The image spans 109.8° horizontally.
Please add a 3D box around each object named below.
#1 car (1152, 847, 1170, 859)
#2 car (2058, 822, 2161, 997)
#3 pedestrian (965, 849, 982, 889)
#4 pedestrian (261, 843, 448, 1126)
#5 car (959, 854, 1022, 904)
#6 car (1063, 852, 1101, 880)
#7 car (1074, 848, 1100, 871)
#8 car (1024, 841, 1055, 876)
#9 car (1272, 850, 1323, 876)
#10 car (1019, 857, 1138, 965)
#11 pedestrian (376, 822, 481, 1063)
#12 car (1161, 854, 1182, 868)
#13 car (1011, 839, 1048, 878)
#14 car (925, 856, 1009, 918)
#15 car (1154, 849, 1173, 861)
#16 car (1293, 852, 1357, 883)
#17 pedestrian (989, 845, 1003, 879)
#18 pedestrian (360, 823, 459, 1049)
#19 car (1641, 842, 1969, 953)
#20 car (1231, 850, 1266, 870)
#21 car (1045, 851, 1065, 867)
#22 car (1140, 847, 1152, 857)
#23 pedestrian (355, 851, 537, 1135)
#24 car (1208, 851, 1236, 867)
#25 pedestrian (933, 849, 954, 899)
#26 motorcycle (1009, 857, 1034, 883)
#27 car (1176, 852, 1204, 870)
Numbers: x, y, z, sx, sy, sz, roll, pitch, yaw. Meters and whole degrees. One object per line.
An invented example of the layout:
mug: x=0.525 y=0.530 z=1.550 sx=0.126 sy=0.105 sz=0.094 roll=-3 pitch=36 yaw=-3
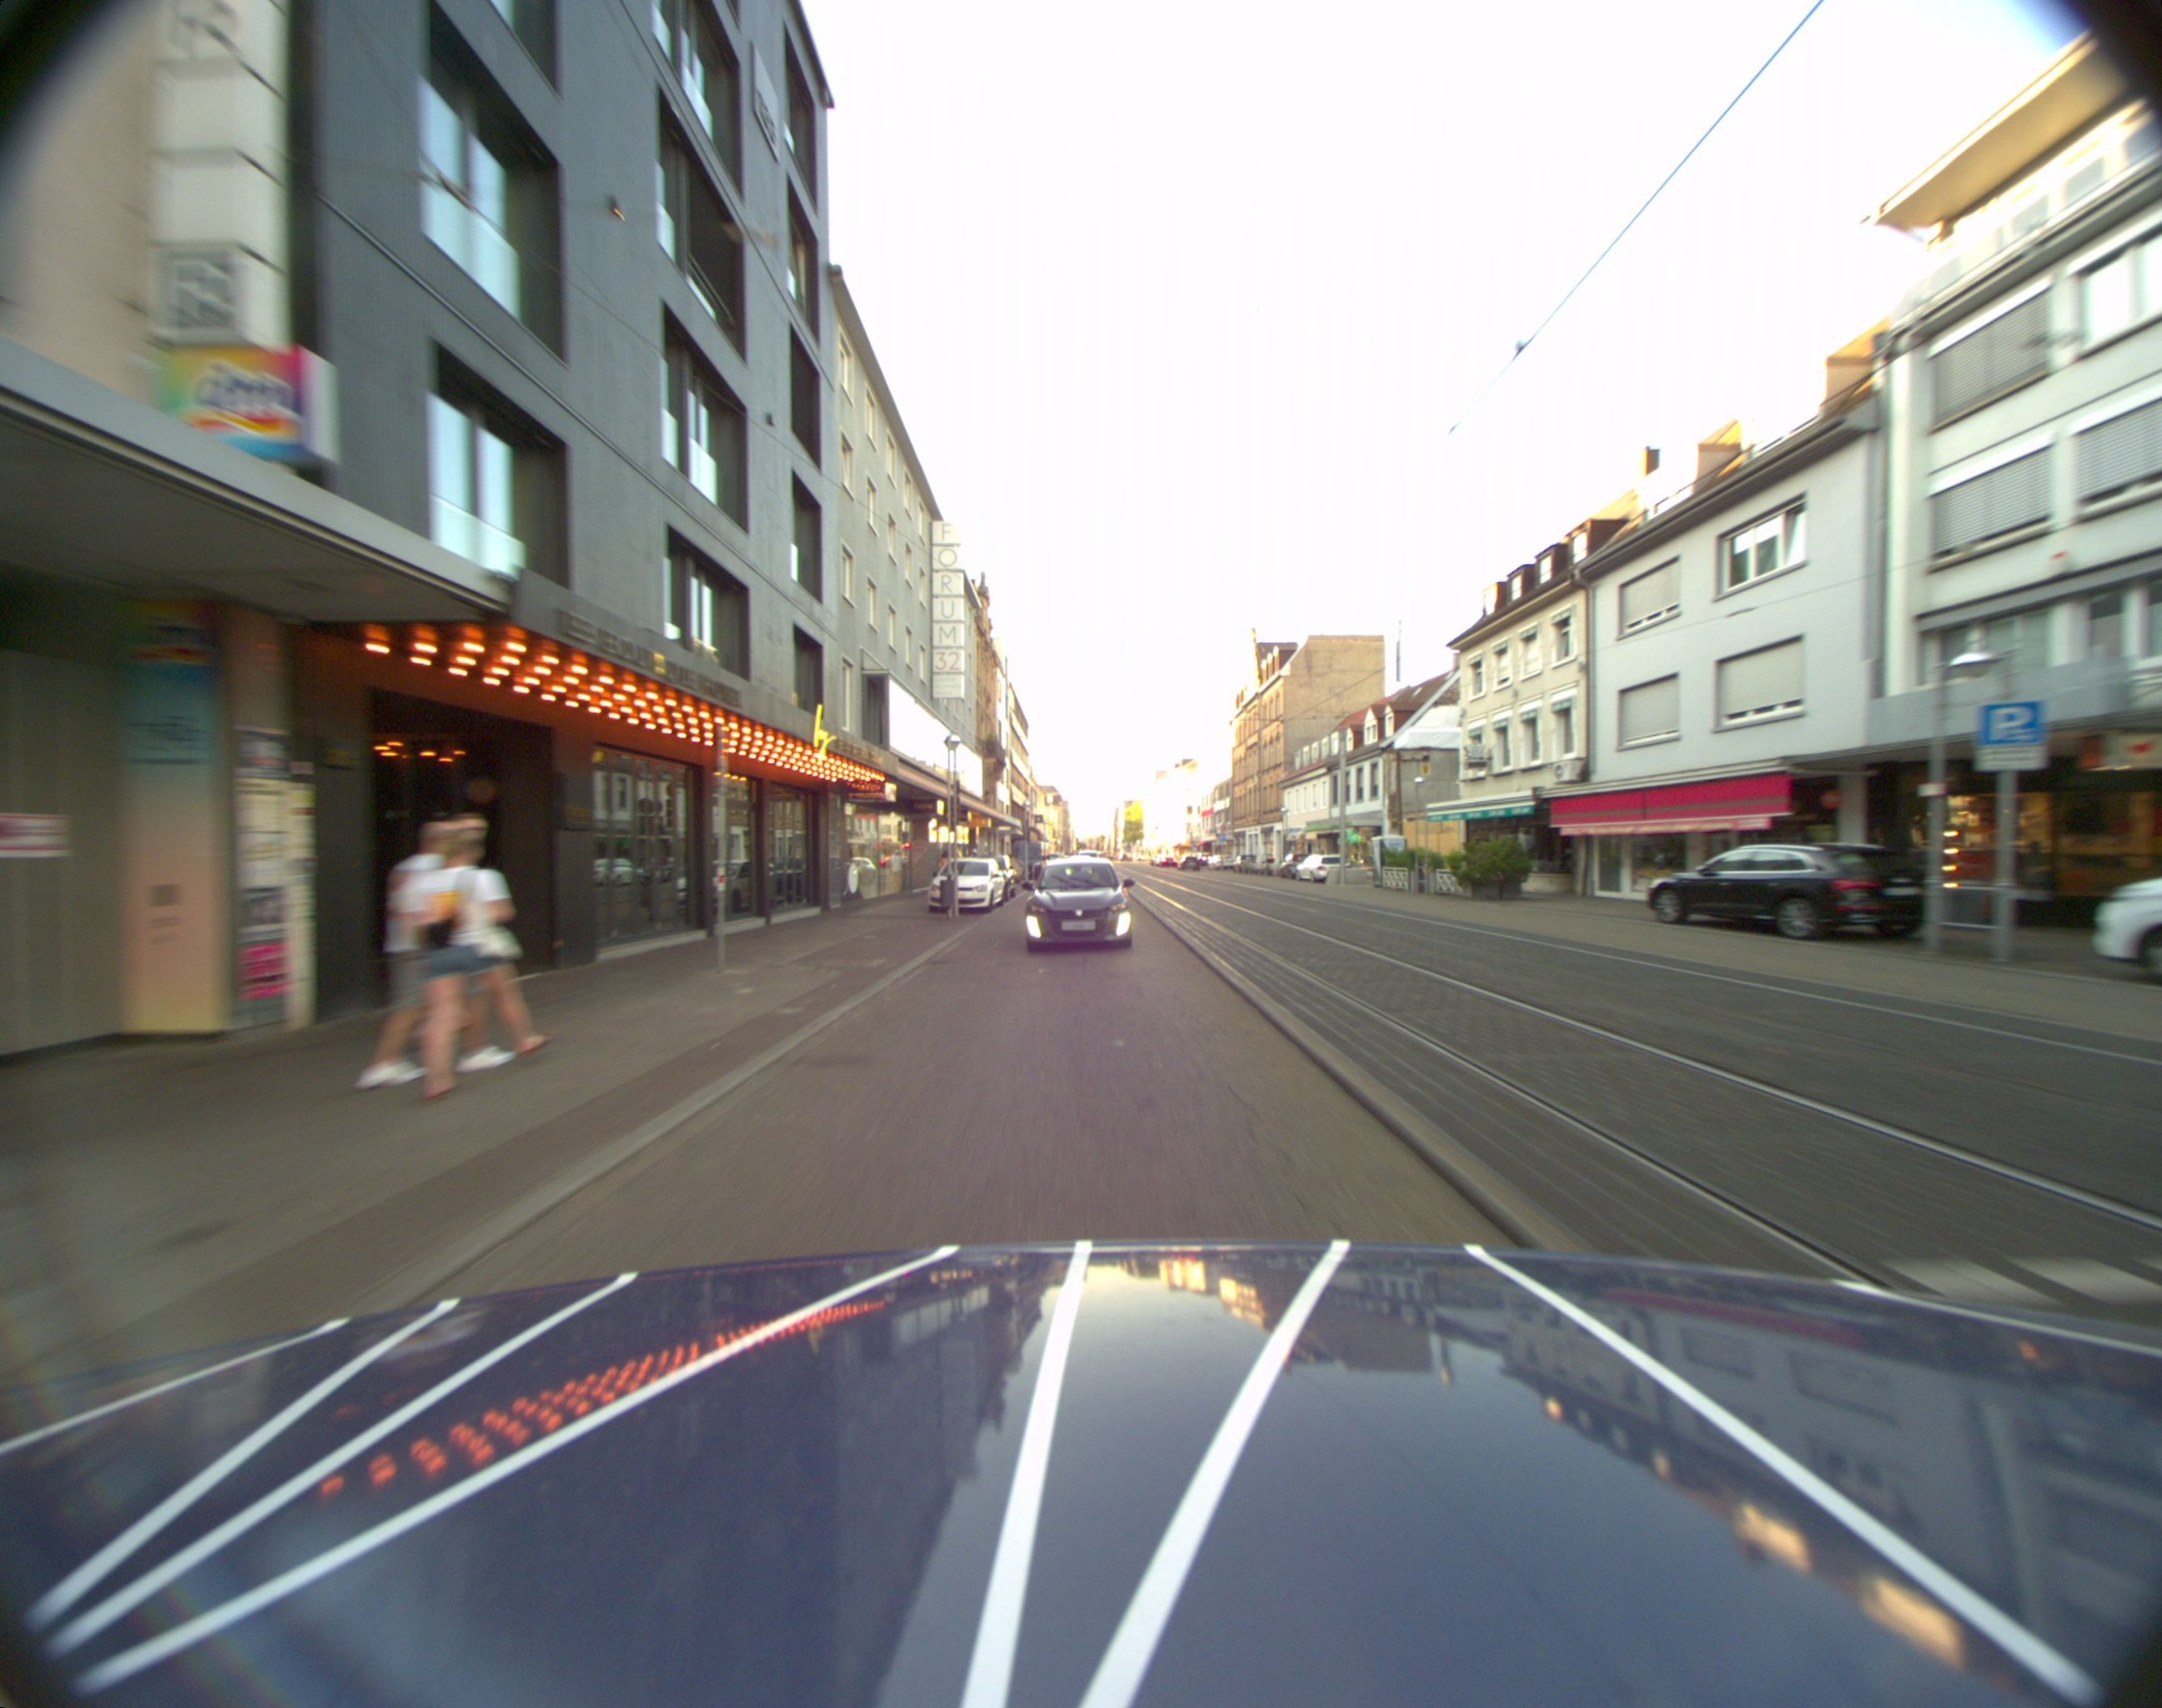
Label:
car: x=10.888 y=-0.102 z=103.570 sx=1.998 sy=1.543 sz=4.000 roll=0 pitch=0 yaw=0
car: x=13.122 y=0.632 z=6.843 sx=1.960 sy=1.965 sz=5.162 roll=0 pitch=0 yaw=-1
pedestrian: x=-4.705 y=0.651 z=33.300 sx=0.610 sy=1.743 sz=0.605 roll=0 pitch=1 yaw=0
pedestrian: x=-4.708 y=0.802 z=4.965 sx=0.610 sy=1.743 sz=0.605 roll=0 pitch=1 yaw=0
car: x=-3.073 y=0.806 z=26.428 sx=1.673 sy=1.565 sz=4.034 roll=0 pitch=0 yaw=0
car: x=0.064 y=0.617 z=42.196 sx=1.998 sy=1.450 sz=3.999 roll=0 pitch=0 yaw=0
car: x=0.435 y=0.409 z=61.569 sx=1.999 sy=1.805 sz=3.999 roll=0 pitch=1 yaw=-1
car: x=-3.002 y=0.299 z=55.520 sx=1.999 sy=2.390 sz=5.563 roll=0 pitch=0 yaw=-1
car: x=13.261 y=0.530 z=46.822 sx=1.914 sy=1.535 sz=4.552 roll=0 pitch=0 yaw=0
car: x=-0.062 y=0.867 z=13.616 sx=1.732 sy=1.513 sz=4.333 roll=-2 pitch=0 yaw=-1
pedestrian: x=-5.262 y=0.690 z=6.149 sx=0.456 sy=1.888 sz=0.421 roll=0 pitch=1 yaw=0
car: x=10.485 y=0.768 z=88.702 sx=1.998 sy=1.543 sz=4.000 roll=0 pitch=0 yaw=0
car: x=-3.273 y=0.275 z=49.089 sx=2.046 sy=2.371 sz=5.584 roll=0 pitch=0 yaw=-1
car: x=-3.103 y=0.844 z=21.342 sx=1.682 sy=1.534 sz=3.886 roll=1 pitch=0 yaw=1
car: x=10.424 y=0.134 z=95.776 sx=1.998 sy=1.543 sz=4.000 roll=0 pitch=0 yaw=0
car: x=13.215 y=0.700 z=41.496 sx=1.998 sy=1.535 sz=4.878 roll=-1 pitch=0 yaw=1
pedestrian: x=-5.009 y=0.479 z=44.941 sx=0.711 sy=2.002 sz=0.824 roll=0 pitch=1 yaw=0
pedestrian: x=-5.787 y=0.685 z=6.561 sx=0.452 sy=1.888 sz=0.421 roll=0 pitch=1 yaw=0
car: x=13.265 y=0.688 z=14.420 sx=1.863 sy=1.711 sz=4.527 roll=-2 pitch=0 yaw=0
car: x=13.642 y=0.459 z=62.182 sx=1.998 sy=1.543 sz=4.000 roll=0 pitch=0 yaw=0
car: x=-2.655 y=0.514 z=78.358 sx=1.999 sy=1.627 sz=5.243 roll=0 pitch=0 yaw=-1
car: x=13.449 y=-0.343 z=157.181 sx=1.998 sy=2.024 sz=4.000 roll=0 pitch=0 yaw=0
pedestrian: x=-4.065 y=0.841 z=4.909 sx=0.605 sy=1.717 sz=0.646 roll=0 pitch=1 yaw=0
car: x=13.709 y=0.438 z=74.048 sx=1.998 sy=1.543 sz=4.206 roll=0 pitch=0 yaw=0
pedestrian: x=-4.813 y=0.689 z=26.678 sx=0.610 sy=1.743 sz=0.605 roll=0 pitch=1 yaw=0
motorcycle: x=-3.199 y=0.834 z=40.852 sx=0.574 sy=1.369 sz=1.512 roll=0 pitch=1 yaw=30
car: x=10.083 y=0.624 z=70.576 sx=1.998 sy=1.543 sz=4.000 roll=0 pitch=0 yaw=0
